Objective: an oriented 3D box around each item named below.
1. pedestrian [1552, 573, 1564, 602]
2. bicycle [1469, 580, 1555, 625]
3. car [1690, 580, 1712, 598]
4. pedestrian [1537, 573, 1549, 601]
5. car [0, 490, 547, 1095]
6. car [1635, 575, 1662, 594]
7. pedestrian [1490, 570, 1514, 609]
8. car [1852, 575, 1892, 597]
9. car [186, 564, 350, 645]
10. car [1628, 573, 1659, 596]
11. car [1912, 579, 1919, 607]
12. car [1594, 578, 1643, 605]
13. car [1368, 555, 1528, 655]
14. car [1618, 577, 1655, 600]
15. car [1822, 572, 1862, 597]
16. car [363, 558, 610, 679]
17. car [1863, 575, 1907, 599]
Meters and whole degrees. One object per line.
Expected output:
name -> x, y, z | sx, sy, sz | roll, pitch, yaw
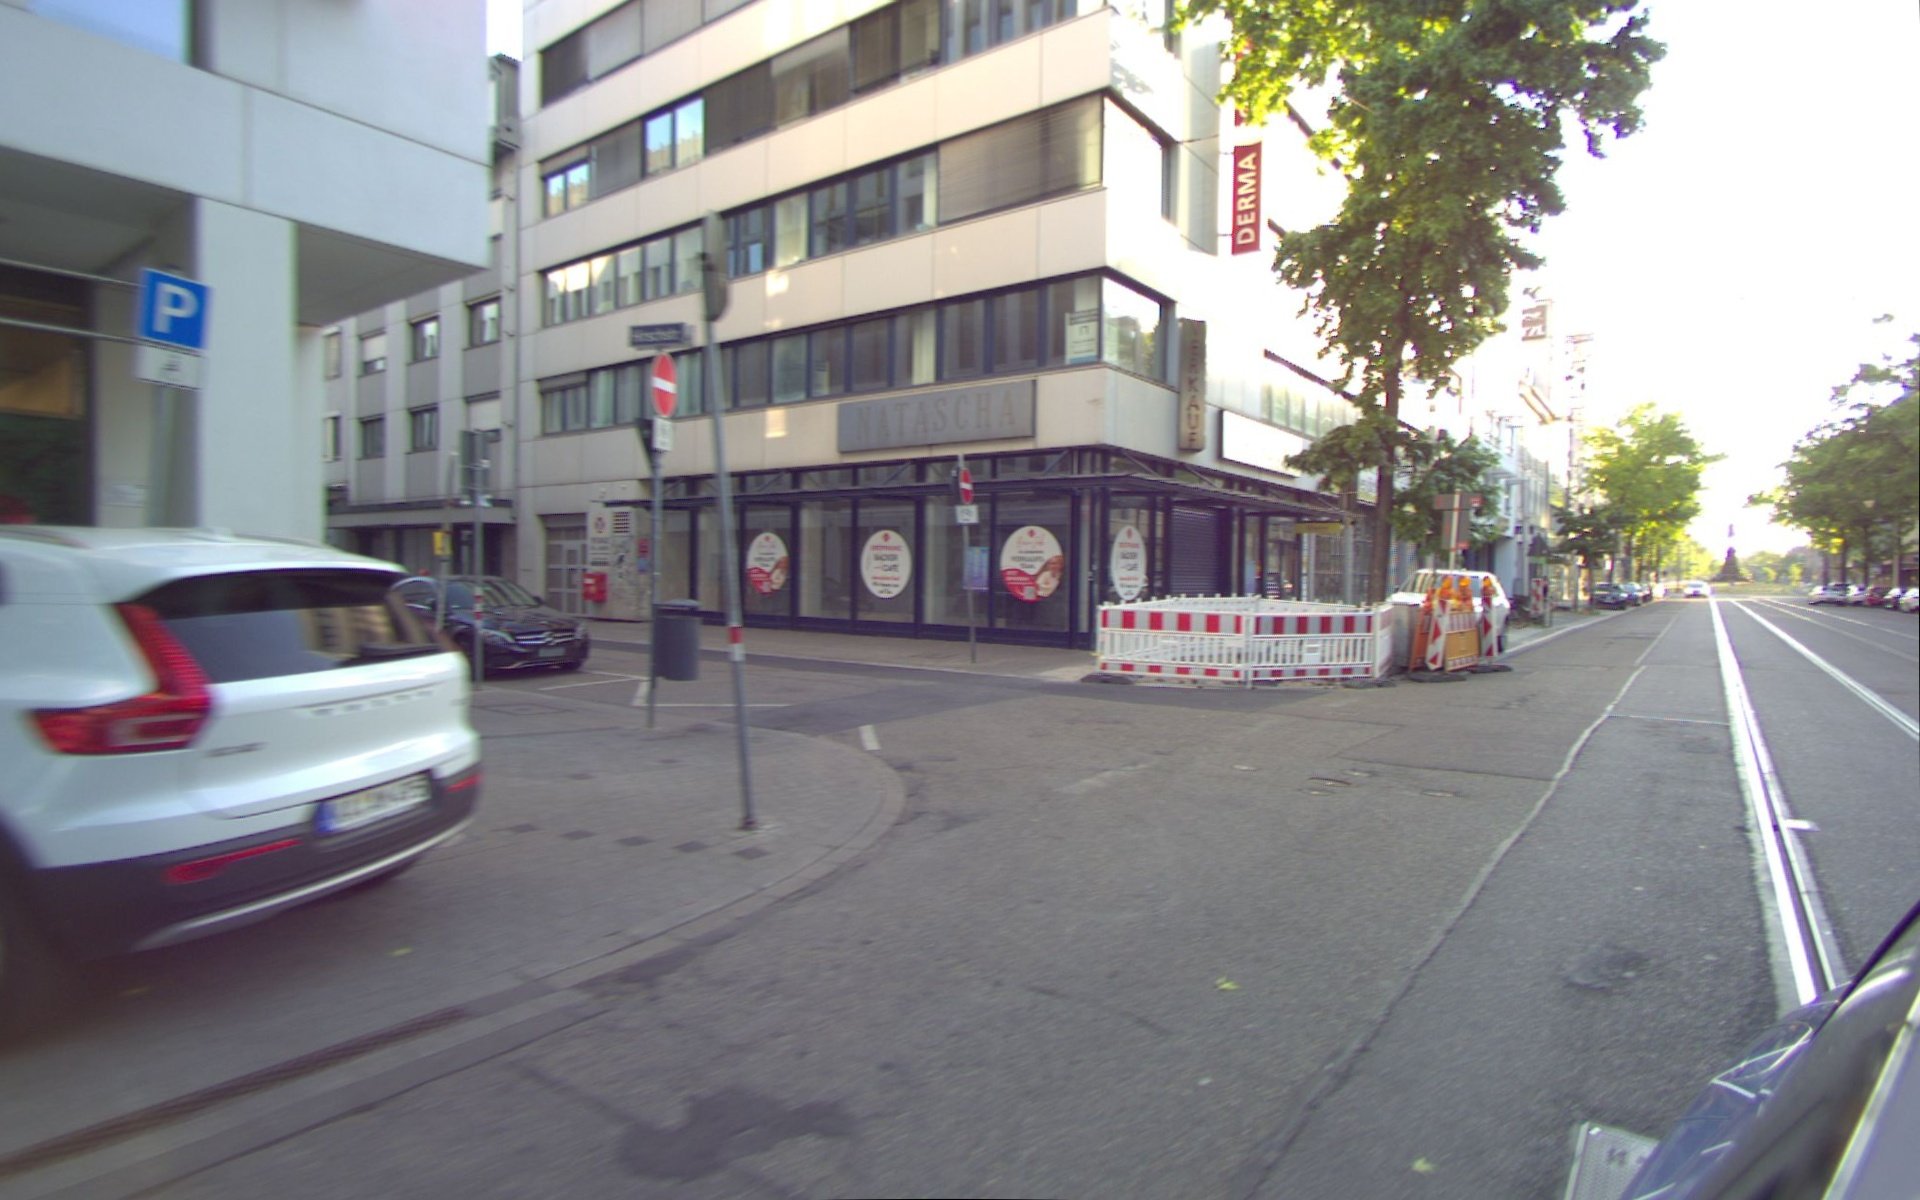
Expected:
pedestrian -> 33.142, -0.702, 56.097 | 0.475, 1.575, 0.738 | 2, 3, 37
bicycle -> 16.940, 0.050, 31.096 | 2.160, 1.172, 0.749 | 6, 5, 44
car -> 73.824, -1.127, 100.864 | 1.729, 1.759, 4.051 | 2, 2, 37
pedestrian -> 32.521, -0.734, 56.439 | 0.475, 1.566, 0.738 | 2, 2, 37
car -> -4.193, 0.382, 4.259 | 4.209, 1.692, 1.946 | 3, 4, 13
car -> 56.092, -1.304, 82.422 | 1.677, 1.498, 3.798 | 2, 2, 36
pedestrian -> 22.574, -0.451, 42.155 | 0.727, 1.577, 0.827 | 3, 3, 39
car -> 68.599, -1.056, 76.180 | 1.990, 1.568, 4.048 | 2, 2, 39
car -> -14.408, 0.014, 20.991 | 4.133, 1.493, 1.754 | 2, 3, 40
car -> 52.789, -1.248, 78.194 | 1.891, 1.713, 4.055 | 1, 2, 34
car -> 53.479, -0.357, 55.037 | 1.989, 1.522, 4.051 | 2, 2, 37
car -> 37.007, -0.518, 56.840 | 1.993, 1.379, 4.051 | 4, 3, 37
car -> 10.415, 0.046, 21.402 | 1.991, 1.792, 4.605 | 5, 4, 39
car -> 42.948, -0.747, 64.232 | 1.729, 1.335, 4.052 | 4, 4, 36
car -> 64.419, -1.149, 73.957 | 1.990, 1.759, 4.048 | 2, 2, 39
car -> -7.377, 0.166, 15.612 | 4.133, 1.632, 1.877 | 2, 3, 40
car -> 65.155, -0.948, 71.366 | 1.990, 1.596, 4.048 | 2, 2, 39
